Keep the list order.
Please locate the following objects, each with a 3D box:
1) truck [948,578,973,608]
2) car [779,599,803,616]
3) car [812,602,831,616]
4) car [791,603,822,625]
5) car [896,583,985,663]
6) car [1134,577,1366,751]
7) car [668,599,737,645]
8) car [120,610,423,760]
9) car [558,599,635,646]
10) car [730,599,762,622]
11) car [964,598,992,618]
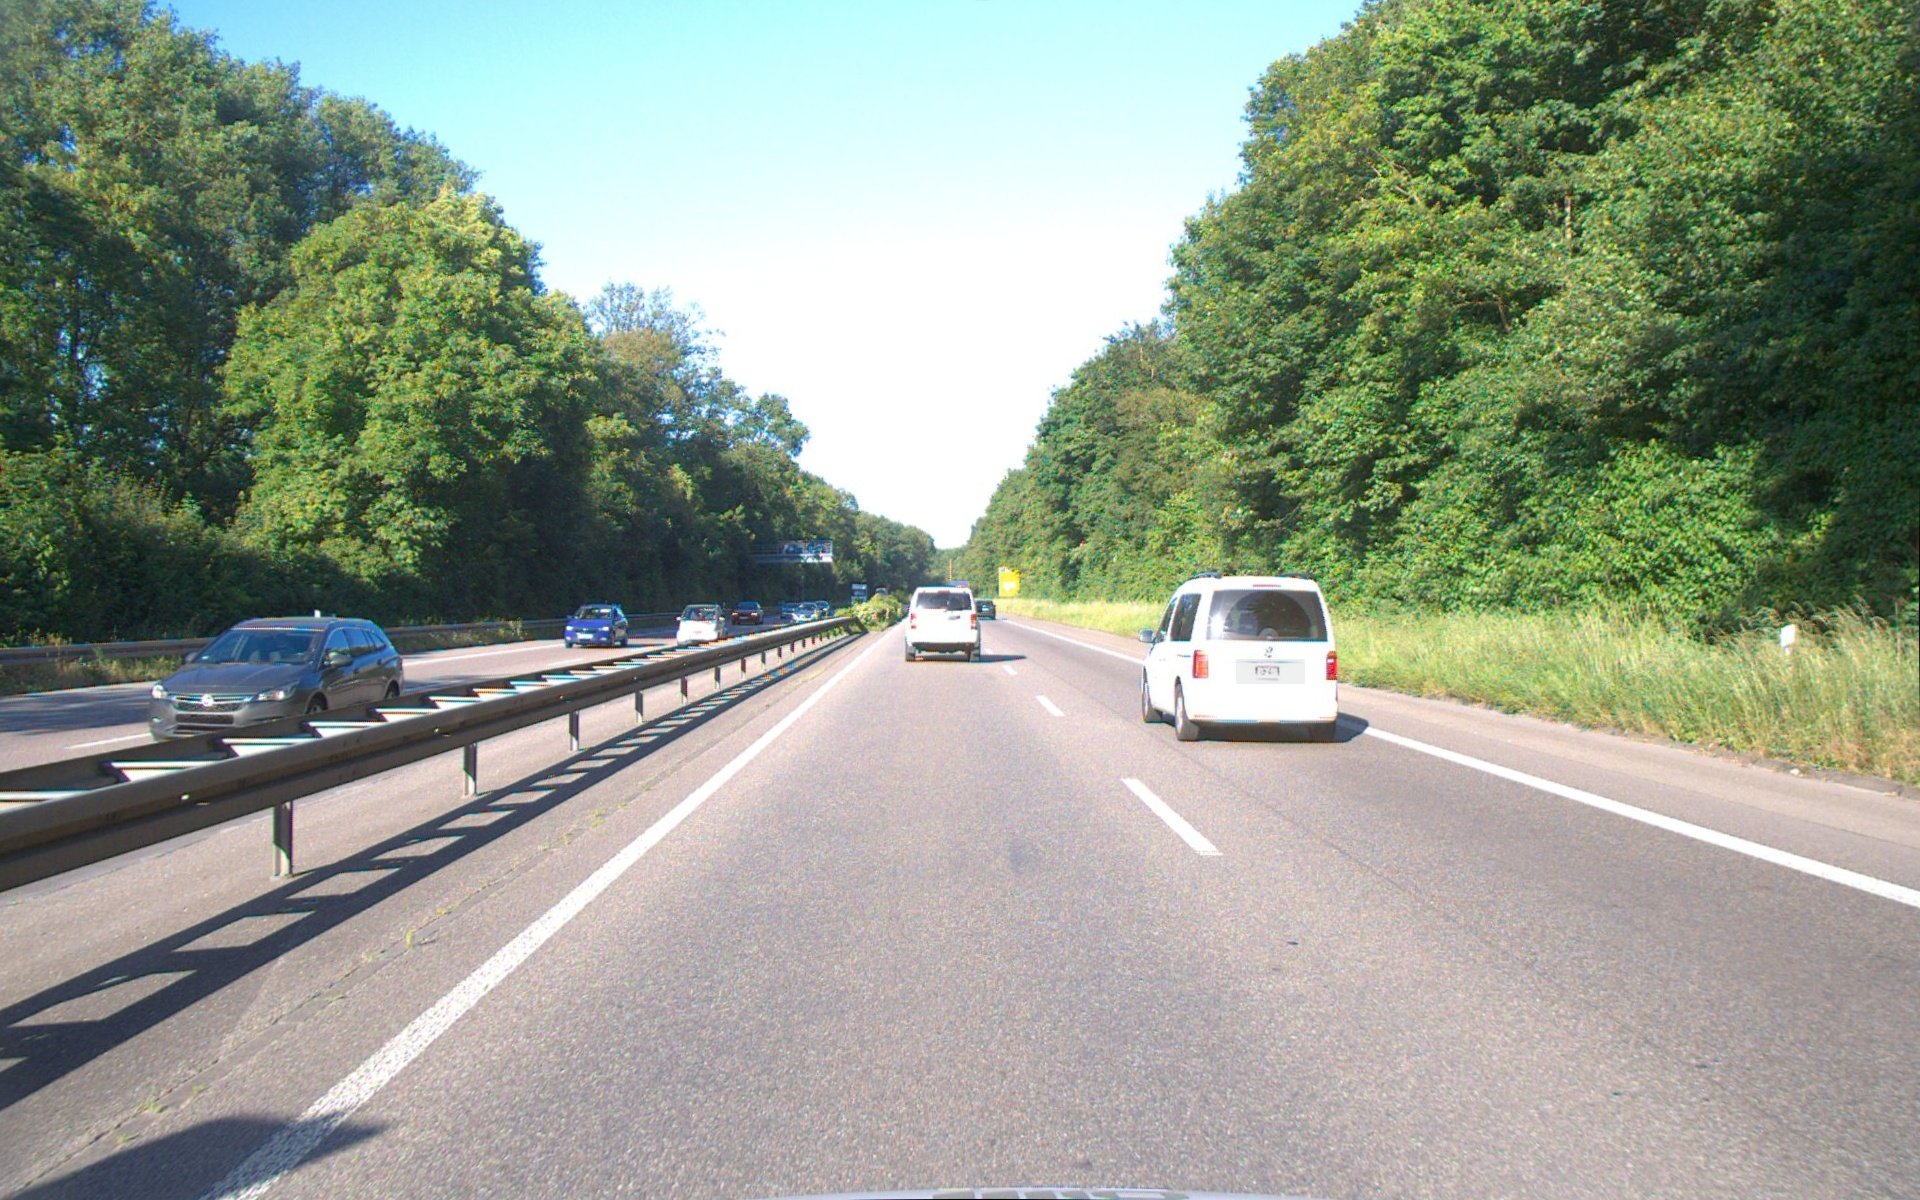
[{"bbox_3d":[0.016,-1.000,237.353,3.425,4.246,8.859,0,0,-1],"label":"truck"},{"bbox_3d":[-14.253,0.591,139.458,1.683,1.380,4.227,-1,0,-2],"label":"car"},{"bbox_3d":[-14.044,0.896,167.860,1.683,1.380,3.945,1,-1,0],"label":"car"},{"bbox_3d":[-10.167,0.934,109.757,1.798,1.380,4.473,0,0,-2],"label":"car"},{"bbox_3d":[-0.530,0.540,40.660,2.044,1.860,3.998,0,0,-3],"label":"car"},{"bbox_3d":[3.270,0.658,19.529,1.826,1.801,4.468,1,0,-2],"label":"car"},{"bbox_3d":[-9.128,0.760,58.951,1.839,1.567,4.463,0,0,-1],"label":"car"},{"bbox_3d":[-8.269,0.946,20.354,1.921,1.567,4.463,1,0,-1],"label":"car"},{"bbox_3d":[-12.752,0.773,58.309,1.799,1.567,4.429,1,0,-1],"label":"car"},{"bbox_3d":[-14.072,0.701,109.094,1.683,1.470,4.227,0,0,-2],"label":"car"},{"bbox_3d":[1.288,0.594,123.033,1.953,1.422,3.999,0,0,-1],"label":"car"}]
